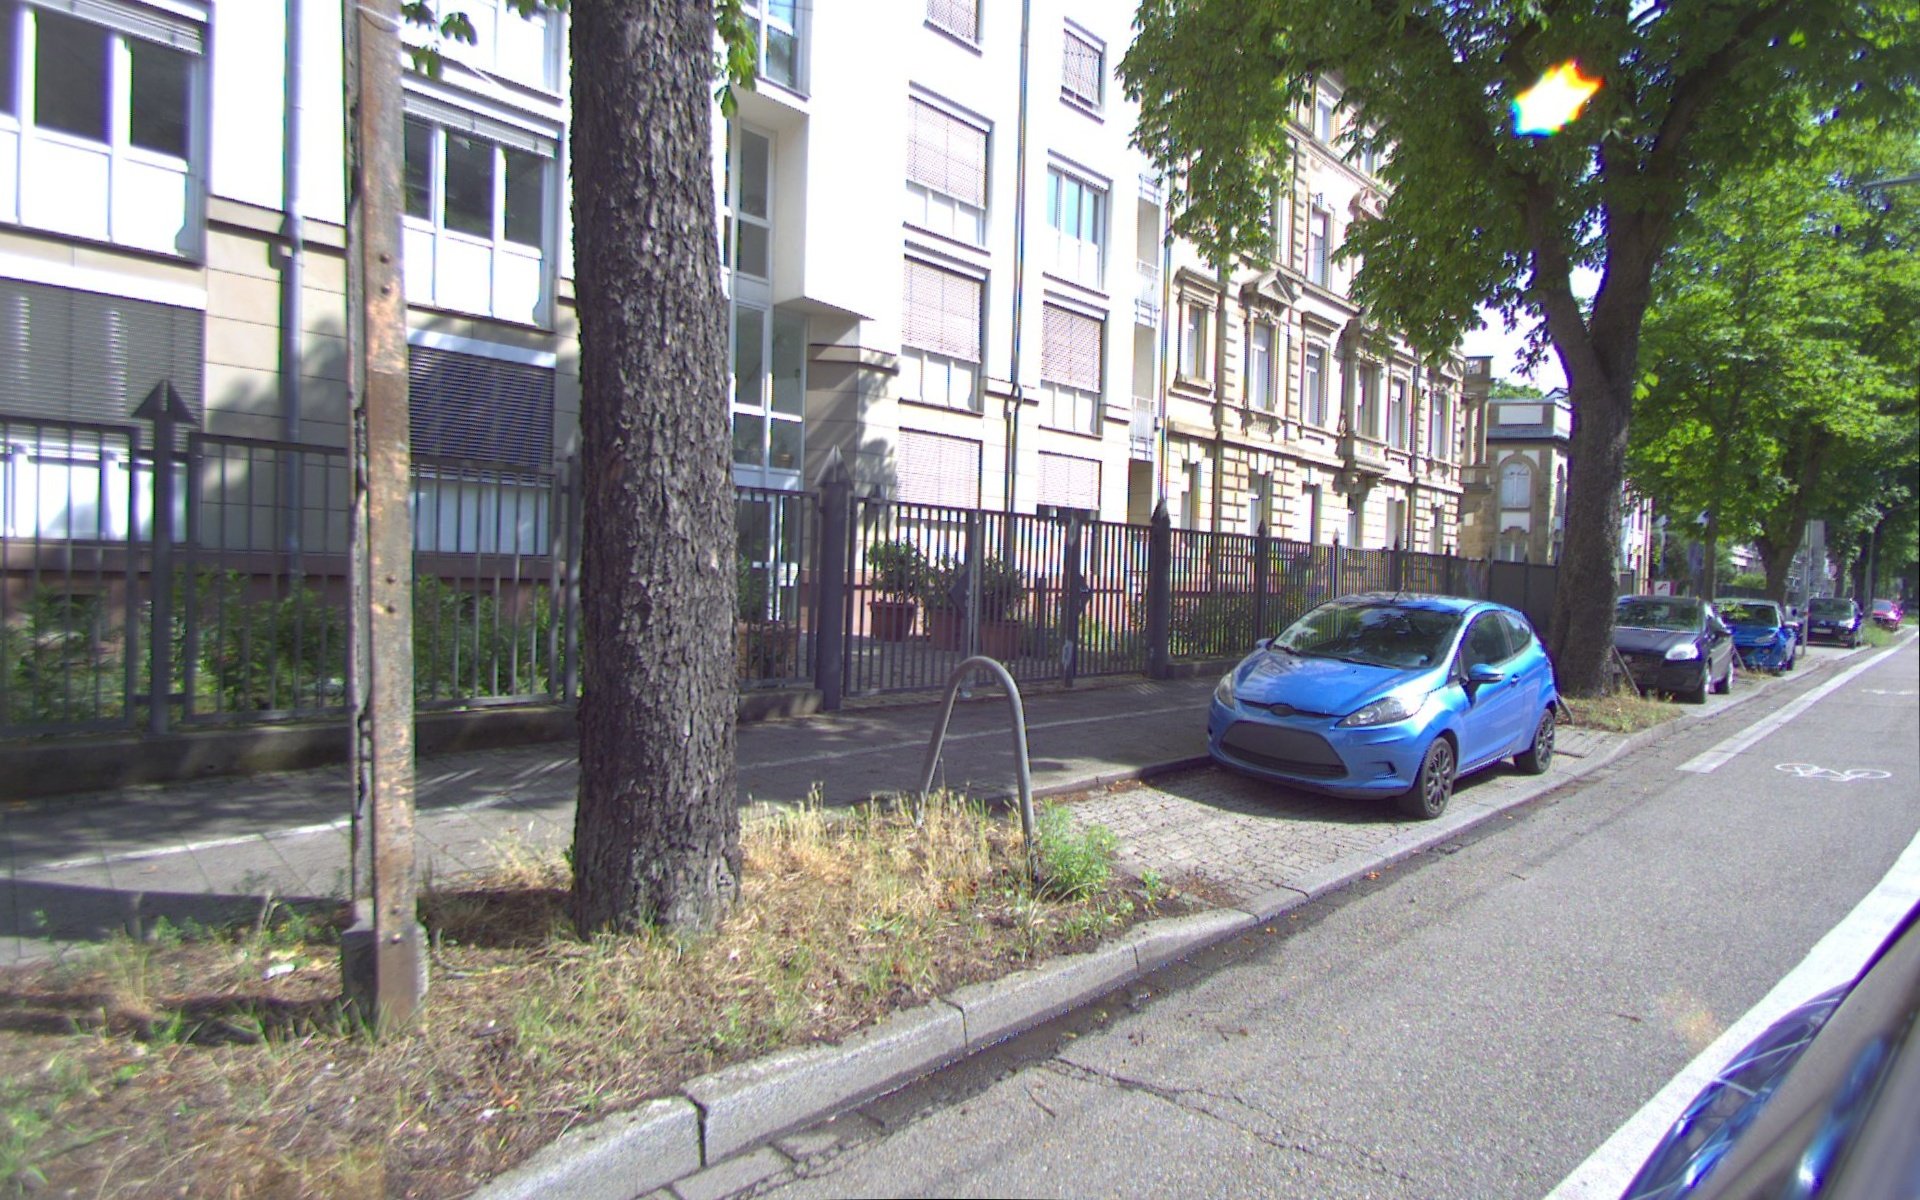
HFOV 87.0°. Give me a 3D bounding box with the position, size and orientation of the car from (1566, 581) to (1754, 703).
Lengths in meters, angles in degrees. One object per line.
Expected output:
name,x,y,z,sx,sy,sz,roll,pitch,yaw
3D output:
car,10.636,0.539,15.283,1.676,1.493,3.602,7,5,44

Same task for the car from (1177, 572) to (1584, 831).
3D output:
car,3.482,0.613,8.078,3.601,1.493,1.644,0,5,-44

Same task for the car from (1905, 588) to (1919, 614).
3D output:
car,63.232,0.092,66.294,1.741,1.592,3.867,7,5,44

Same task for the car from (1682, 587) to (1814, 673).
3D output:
car,16.383,0.553,20.980,1.676,1.493,3.602,7,5,44

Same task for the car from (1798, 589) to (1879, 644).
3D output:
car,29.396,0.514,33.846,1.741,1.592,3.602,7,5,44

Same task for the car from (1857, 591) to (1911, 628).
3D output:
car,45.452,0.446,49.775,1.741,1.592,3.867,7,5,44
